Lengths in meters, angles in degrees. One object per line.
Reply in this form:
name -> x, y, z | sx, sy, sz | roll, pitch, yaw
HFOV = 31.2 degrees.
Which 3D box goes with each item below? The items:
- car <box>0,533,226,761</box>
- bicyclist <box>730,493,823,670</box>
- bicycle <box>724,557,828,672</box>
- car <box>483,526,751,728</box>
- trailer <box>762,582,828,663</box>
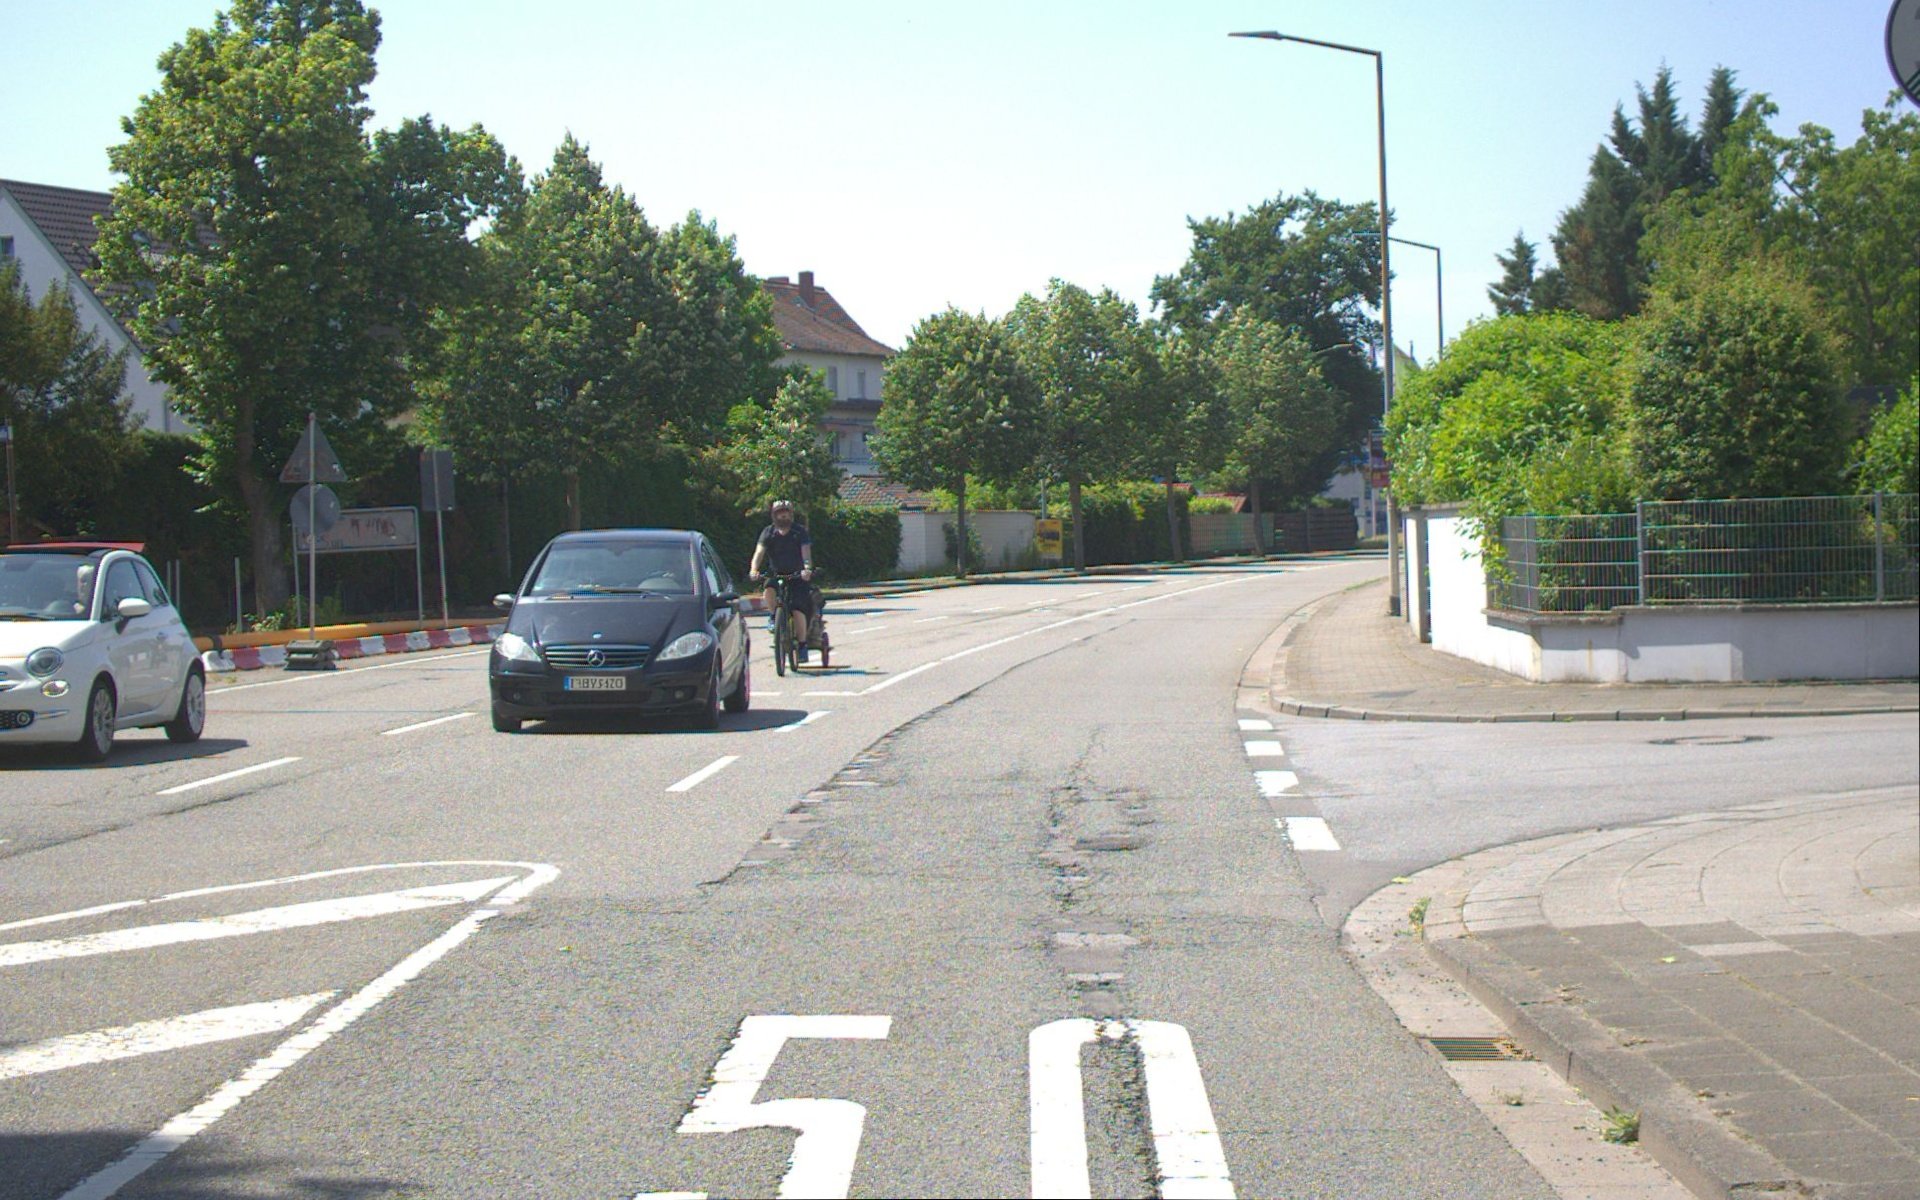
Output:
car -> -6.597, 0.276, 24.521 | 1.699, 1.505, 3.458 | 0, 1, 5
bicyclist -> -1.953, -0.205, 36.716 | 0.846, 1.859, 0.976 | -1, 1, 4
bicycle -> -1.950, 0.139, 36.710 | 0.850, 1.162, 1.977 | -1, 1, 4
car -> -2.721, 0.164, 28.015 | 1.725, 1.527, 3.830 | 0, 1, 1
trailer -> -1.834, 0.248, 38.269 | 0.570, 0.853, 1.132 | -2, 1, 4
